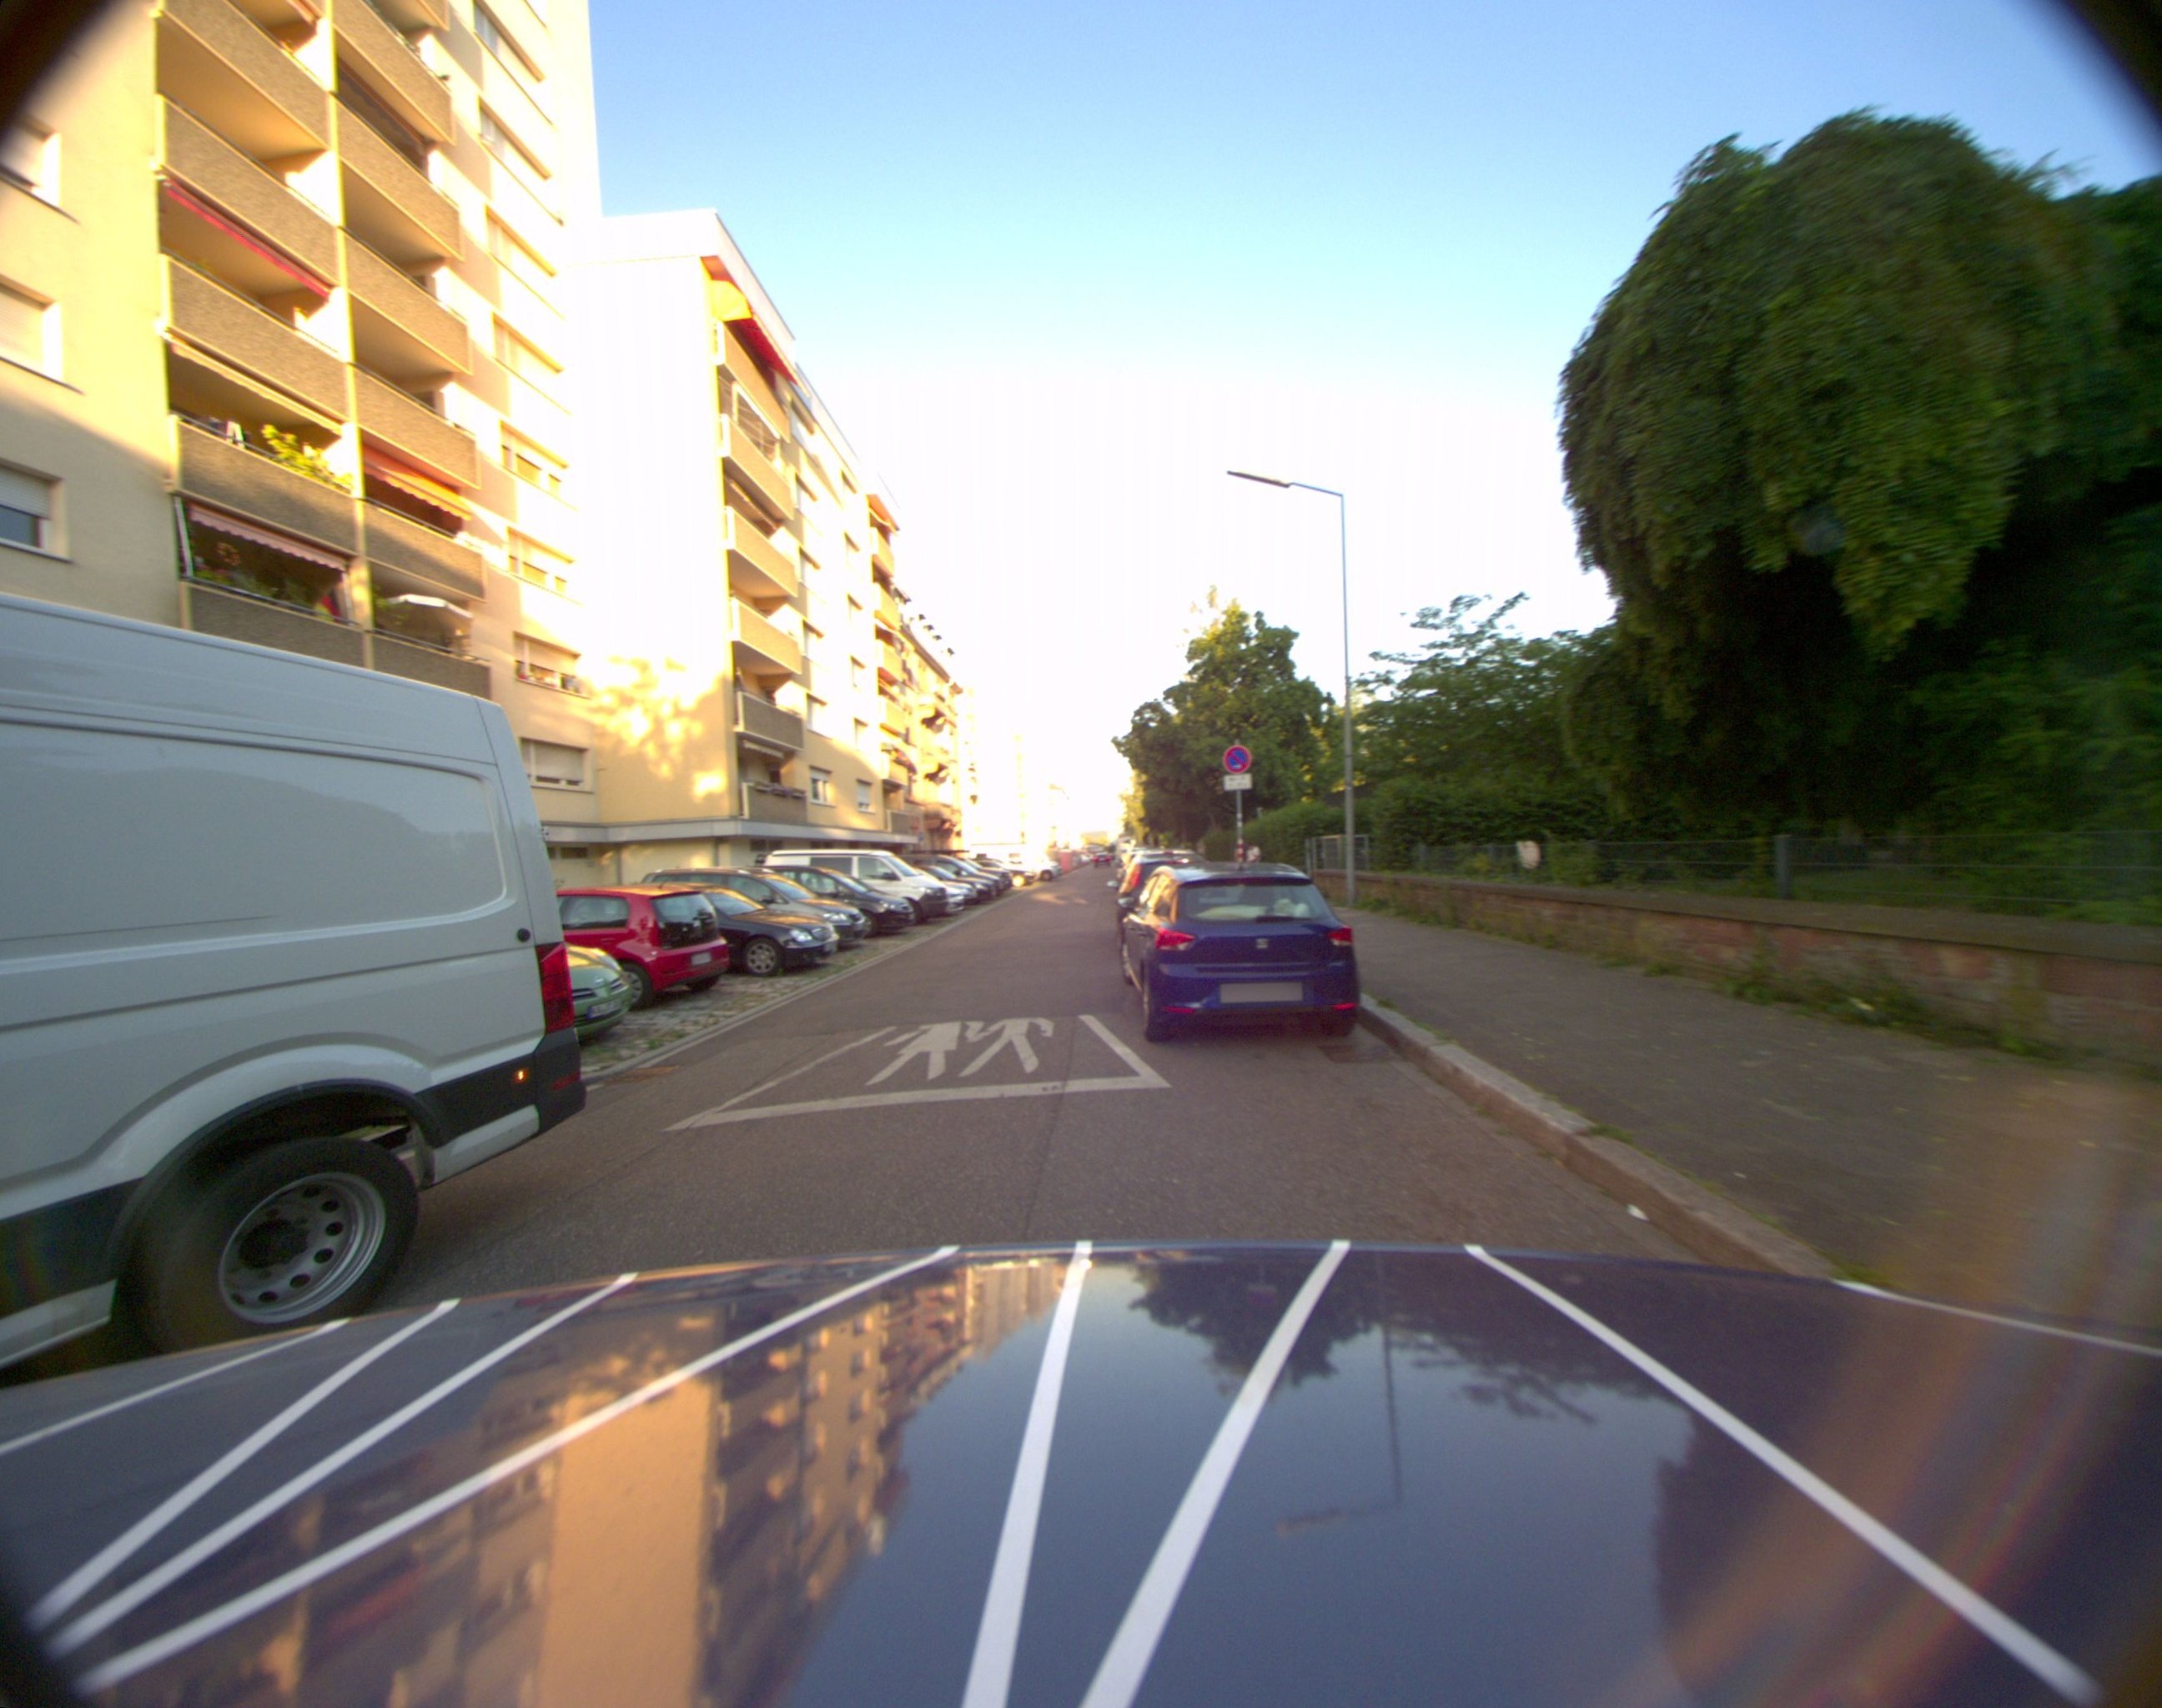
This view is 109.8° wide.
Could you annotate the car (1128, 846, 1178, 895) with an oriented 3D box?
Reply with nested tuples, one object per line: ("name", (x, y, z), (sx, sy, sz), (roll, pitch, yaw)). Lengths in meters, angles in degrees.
("car", (2.529, 0.543, 27.140), (1.533, 1.576, 2.954), (-2, 1, 2))

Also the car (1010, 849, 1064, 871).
("car", (-3.592, 0.478, 62.591), (4.186, 1.650, 1.744), (-2, 1, 3))

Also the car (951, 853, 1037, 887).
("car", (-4.719, 0.860, 41.461), (4.359, 1.650, 1.744), (-2, 1, 3))

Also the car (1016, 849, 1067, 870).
("car", (-3.354, 0.443, 64.902), (4.186, 1.650, 1.744), (-2, 1, 3))

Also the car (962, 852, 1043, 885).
("car", (-4.532, 0.824, 44.102), (4.359, 1.650, 1.744), (-2, 1, 3))

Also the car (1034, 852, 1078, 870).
("car", (-2.512, 0.675, 75.841), (4.186, 1.650, 1.744), (-2, 1, 3))

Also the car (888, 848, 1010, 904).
("car", (-5.134, 0.837, 29.893), (4.359, 1.986, 1.744), (-2, 1, 3))

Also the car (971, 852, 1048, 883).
("car", (-4.312, 0.792, 46.140), (4.359, 1.650, 1.744), (-2, 1, 3))

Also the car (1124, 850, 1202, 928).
("car", (1.840, 0.742, 17.806), (1.533, 1.576, 3.129), (-2, 1, 2))

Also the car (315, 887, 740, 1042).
("car", (-6.811, 1.320, 9.714), (3.997, 1.543, 1.828), (-2, 1, 0))

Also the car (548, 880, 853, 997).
("car", (-6.027, 1.309, 12.419), (3.997, 1.543, 1.828), (-2, 1, 0))

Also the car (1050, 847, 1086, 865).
("car", (-1.577, 0.280, 92.887), (4.186, 1.987, 1.839), (-2, 1, 3))

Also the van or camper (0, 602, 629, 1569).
("van or camper", (-4.274, 0.688, 0.843), (2.092, 2.575, 6.877), (-5, 0, 14))

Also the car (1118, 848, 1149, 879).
("car", (2.897, 0.514, 42.305), (1.533, 1.576, 2.954), (-2, 1, 2))

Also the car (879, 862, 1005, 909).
("car", (-4.945, 1.125, 27.389), (4.139, 1.452, 1.744), (-2, 1, 3))

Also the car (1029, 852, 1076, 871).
("car", (-2.703, 0.676, 72.605), (4.186, 1.650, 1.744), (-2, 1, 3))

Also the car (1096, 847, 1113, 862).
("car", (2.731, 0.057, 87.782), (1.741, 1.650, 4.364), (-2, 1, 5))

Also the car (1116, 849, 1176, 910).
("car", (1.848, 0.689, 22.489), (1.533, 1.576, 3.402), (-2, 1, 2))

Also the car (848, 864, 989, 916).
("car", (-5.282, 1.164, 25.023), (4.139, 1.452, 1.744), (-2, 1, 3))

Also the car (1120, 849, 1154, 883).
("car", (2.756, 0.569, 37.901), (1.533, 1.576, 2.954), (-2, 1, 2))

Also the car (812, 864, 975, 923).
("car", (-5.531, 1.157, 22.793), (4.361, 1.535, 1.744), (-2, 1, 3))

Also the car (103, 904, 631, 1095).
("car", (-6.577, 1.285, 7.277), (3.567, 1.503, 1.627), (0, 0, 2))

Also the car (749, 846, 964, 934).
("car", (-5.930, 0.915, 20.458), (5.072, 2.073, 2.000), (-2, 1, 5))

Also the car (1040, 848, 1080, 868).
("car", (-2.285, 0.417, 83.108), (4.186, 1.987, 2.031), (-2, 1, 3))

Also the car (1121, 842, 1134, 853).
("car", (7.045, -0.959, 114.712), (1.802, 1.576, 2.954), (-2, 1, 2))

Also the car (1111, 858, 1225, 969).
("car", (1.315, 0.870, 12.629), (1.533, 1.476, 3.511), (-2, 1, 2))

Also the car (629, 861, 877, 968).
("car", (-6.347, 1.141, 15.072), (4.051, 1.803, 1.828), (-2, 1, 0))

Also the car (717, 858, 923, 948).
("car", (-5.968, 1.096, 17.780), (4.109, 1.803, 1.828), (-2, 1, 0))

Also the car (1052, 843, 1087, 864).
("car", (-1.417, -0.085, 96.219), (4.186, 2.428, 1.839), (-2, 1, 3))

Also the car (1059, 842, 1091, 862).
("car", (-0.809, -0.251, 102.657), (4.186, 2.461, 1.839), (-2, 1, 3))

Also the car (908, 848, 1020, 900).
("car", (-4.904, 0.825, 32.218), (4.359, 1.986, 1.744), (-2, 1, 3))

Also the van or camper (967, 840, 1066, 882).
("van or camper", (-4.176, 0.414, 49.662), (6.097, 2.476, 2.197), (-2, 1, 3))

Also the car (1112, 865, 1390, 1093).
("car", (1.311, 0.929, 7.358), (1.723, 1.476, 3.789), (-2, 1, -1))

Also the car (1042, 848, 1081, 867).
("car", (-2.154, 0.377, 86.209), (4.186, 1.987, 1.839), (-2, 1, 3))

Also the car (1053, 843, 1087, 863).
("car", (-1.390, -0.175, 99.193), (4.186, 2.461, 1.839), (-2, 1, 3))

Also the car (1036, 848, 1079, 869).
("car", (-2.432, 0.471, 78.733), (4.186, 1.987, 1.744), (-2, 1, 3))
